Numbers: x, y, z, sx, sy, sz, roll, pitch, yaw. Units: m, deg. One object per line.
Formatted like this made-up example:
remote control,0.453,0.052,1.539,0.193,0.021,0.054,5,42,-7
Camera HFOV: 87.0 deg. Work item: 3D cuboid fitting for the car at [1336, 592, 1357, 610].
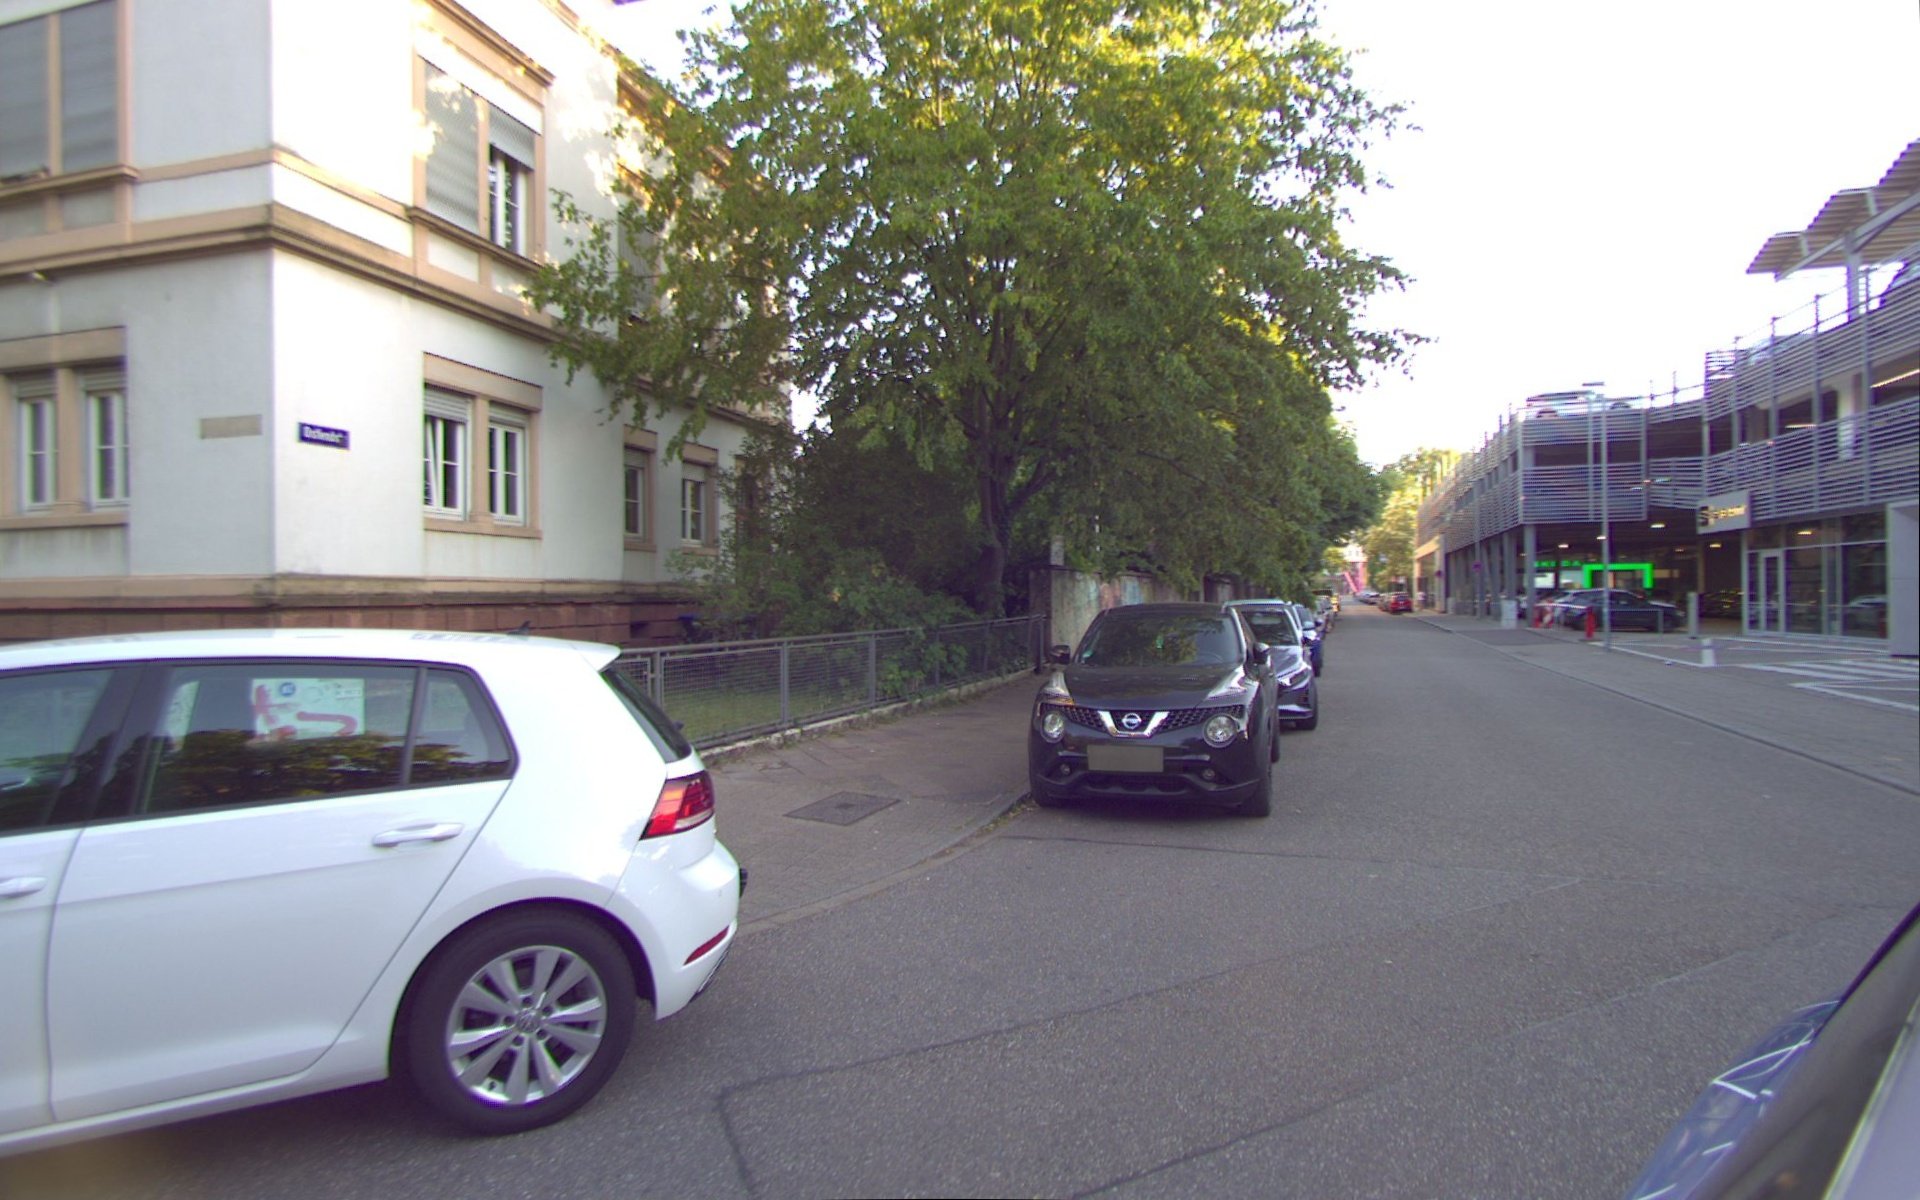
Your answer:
car,32.564,0.056,85.286,1.613,1.472,3.741,1,1,20

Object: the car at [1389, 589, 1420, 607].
car,34.592,-0.185,78.754,1.852,1.303,3.382,1,1,18

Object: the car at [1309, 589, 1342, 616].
car,20.568,0.121,56.889,1.614,1.472,3.738,1,1,22

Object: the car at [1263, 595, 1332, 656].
car,8.995,0.612,26.888,1.612,1.452,4.103,1,1,19

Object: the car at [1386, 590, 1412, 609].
car,35.989,-0.084,82.991,1.611,1.472,3.744,1,1,18

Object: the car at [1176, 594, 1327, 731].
car,3.808,0.671,13.122,1.611,1.452,3.763,1,1,18

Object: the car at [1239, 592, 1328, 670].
car,6.980,0.586,21.596,1.613,1.452,4.101,1,1,21

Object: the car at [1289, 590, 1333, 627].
car,14.758,0.311,42.466,1.613,1.472,3.740,1,1,21

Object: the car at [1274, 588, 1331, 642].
car,11.094,0.419,32.633,1.613,1.587,4.102,1,1,20

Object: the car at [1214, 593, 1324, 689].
car,5.330,0.612,17.459,1.611,1.453,3.666,1,0,18

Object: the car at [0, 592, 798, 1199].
car,-2.743,0.757,3.067,4.087,1.520,1.815,0,-1,-27

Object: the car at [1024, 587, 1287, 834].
car,1.858,0.697,8.568,1.612,1.565,3.918,-1,0,19

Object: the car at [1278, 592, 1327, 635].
car,12.686,0.461,37.412,1.613,1.472,3.741,1,1,20

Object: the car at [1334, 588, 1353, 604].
car,35.802,-0.369,94.641,1.613,1.472,3.741,1,1,20

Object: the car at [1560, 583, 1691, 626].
car,25.443,0.147,38.832,3.879,1.587,1.622,1,1,21

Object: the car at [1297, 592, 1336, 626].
car,16.555,0.361,46.915,1.613,1.472,3.741,1,1,20
